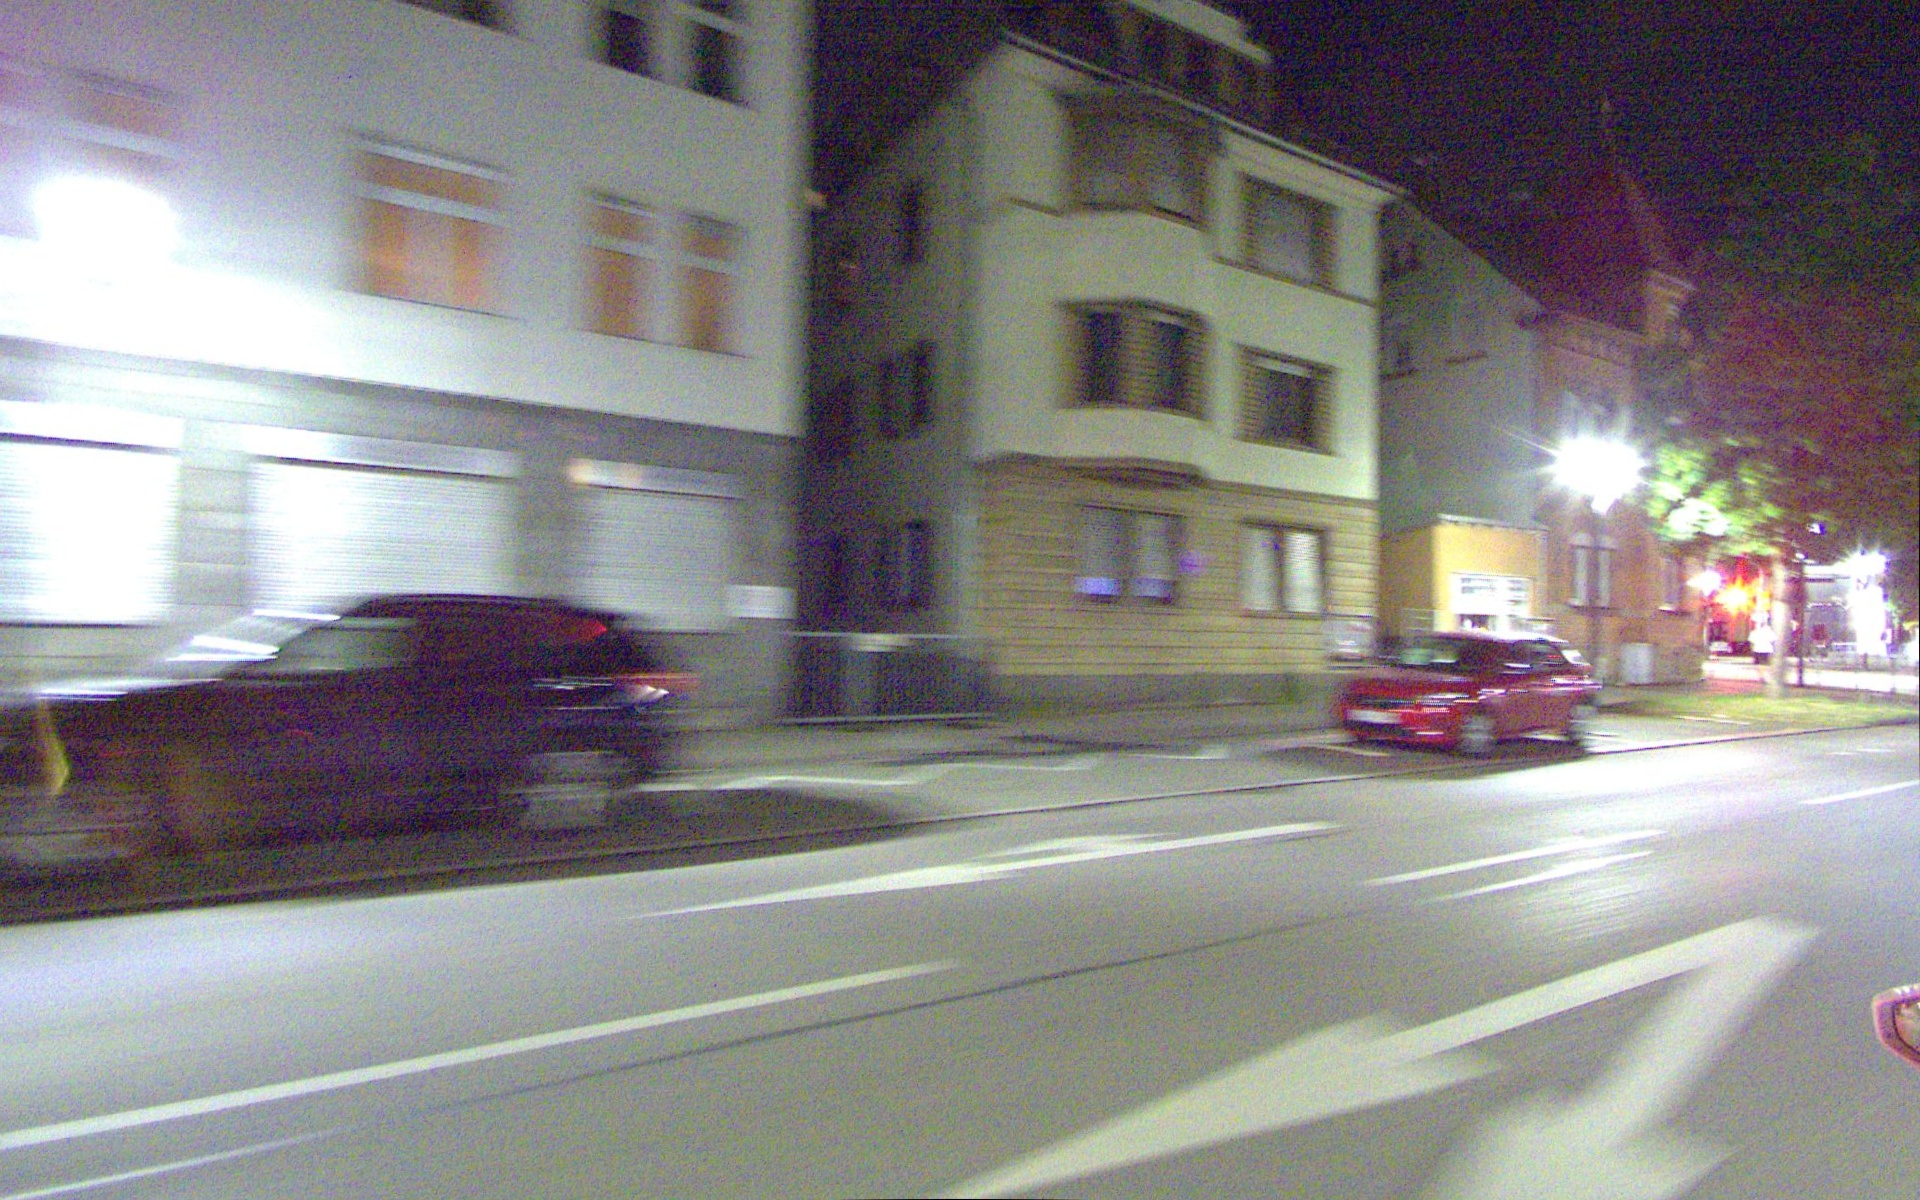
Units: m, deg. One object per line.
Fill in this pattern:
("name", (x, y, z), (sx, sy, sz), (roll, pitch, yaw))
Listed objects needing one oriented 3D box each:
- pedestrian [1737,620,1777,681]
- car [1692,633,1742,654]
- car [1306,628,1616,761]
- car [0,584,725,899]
("pedestrian", (24.922, 1.563, 31.413), (0.711, 1.846, 0.693), (2, -1, 13))
("car", (59.543, 3.428, 79.110), (1.960, 1.595, 3.656), (0, -2, 16))
("car", (6.580, 1.113, 13.088), (4.081, 1.434, 1.774), (1, 0, -33))
("car", (-3.996, 0.763, 6.784), (4.358, 1.603, 1.776), (1, 1, -30))
